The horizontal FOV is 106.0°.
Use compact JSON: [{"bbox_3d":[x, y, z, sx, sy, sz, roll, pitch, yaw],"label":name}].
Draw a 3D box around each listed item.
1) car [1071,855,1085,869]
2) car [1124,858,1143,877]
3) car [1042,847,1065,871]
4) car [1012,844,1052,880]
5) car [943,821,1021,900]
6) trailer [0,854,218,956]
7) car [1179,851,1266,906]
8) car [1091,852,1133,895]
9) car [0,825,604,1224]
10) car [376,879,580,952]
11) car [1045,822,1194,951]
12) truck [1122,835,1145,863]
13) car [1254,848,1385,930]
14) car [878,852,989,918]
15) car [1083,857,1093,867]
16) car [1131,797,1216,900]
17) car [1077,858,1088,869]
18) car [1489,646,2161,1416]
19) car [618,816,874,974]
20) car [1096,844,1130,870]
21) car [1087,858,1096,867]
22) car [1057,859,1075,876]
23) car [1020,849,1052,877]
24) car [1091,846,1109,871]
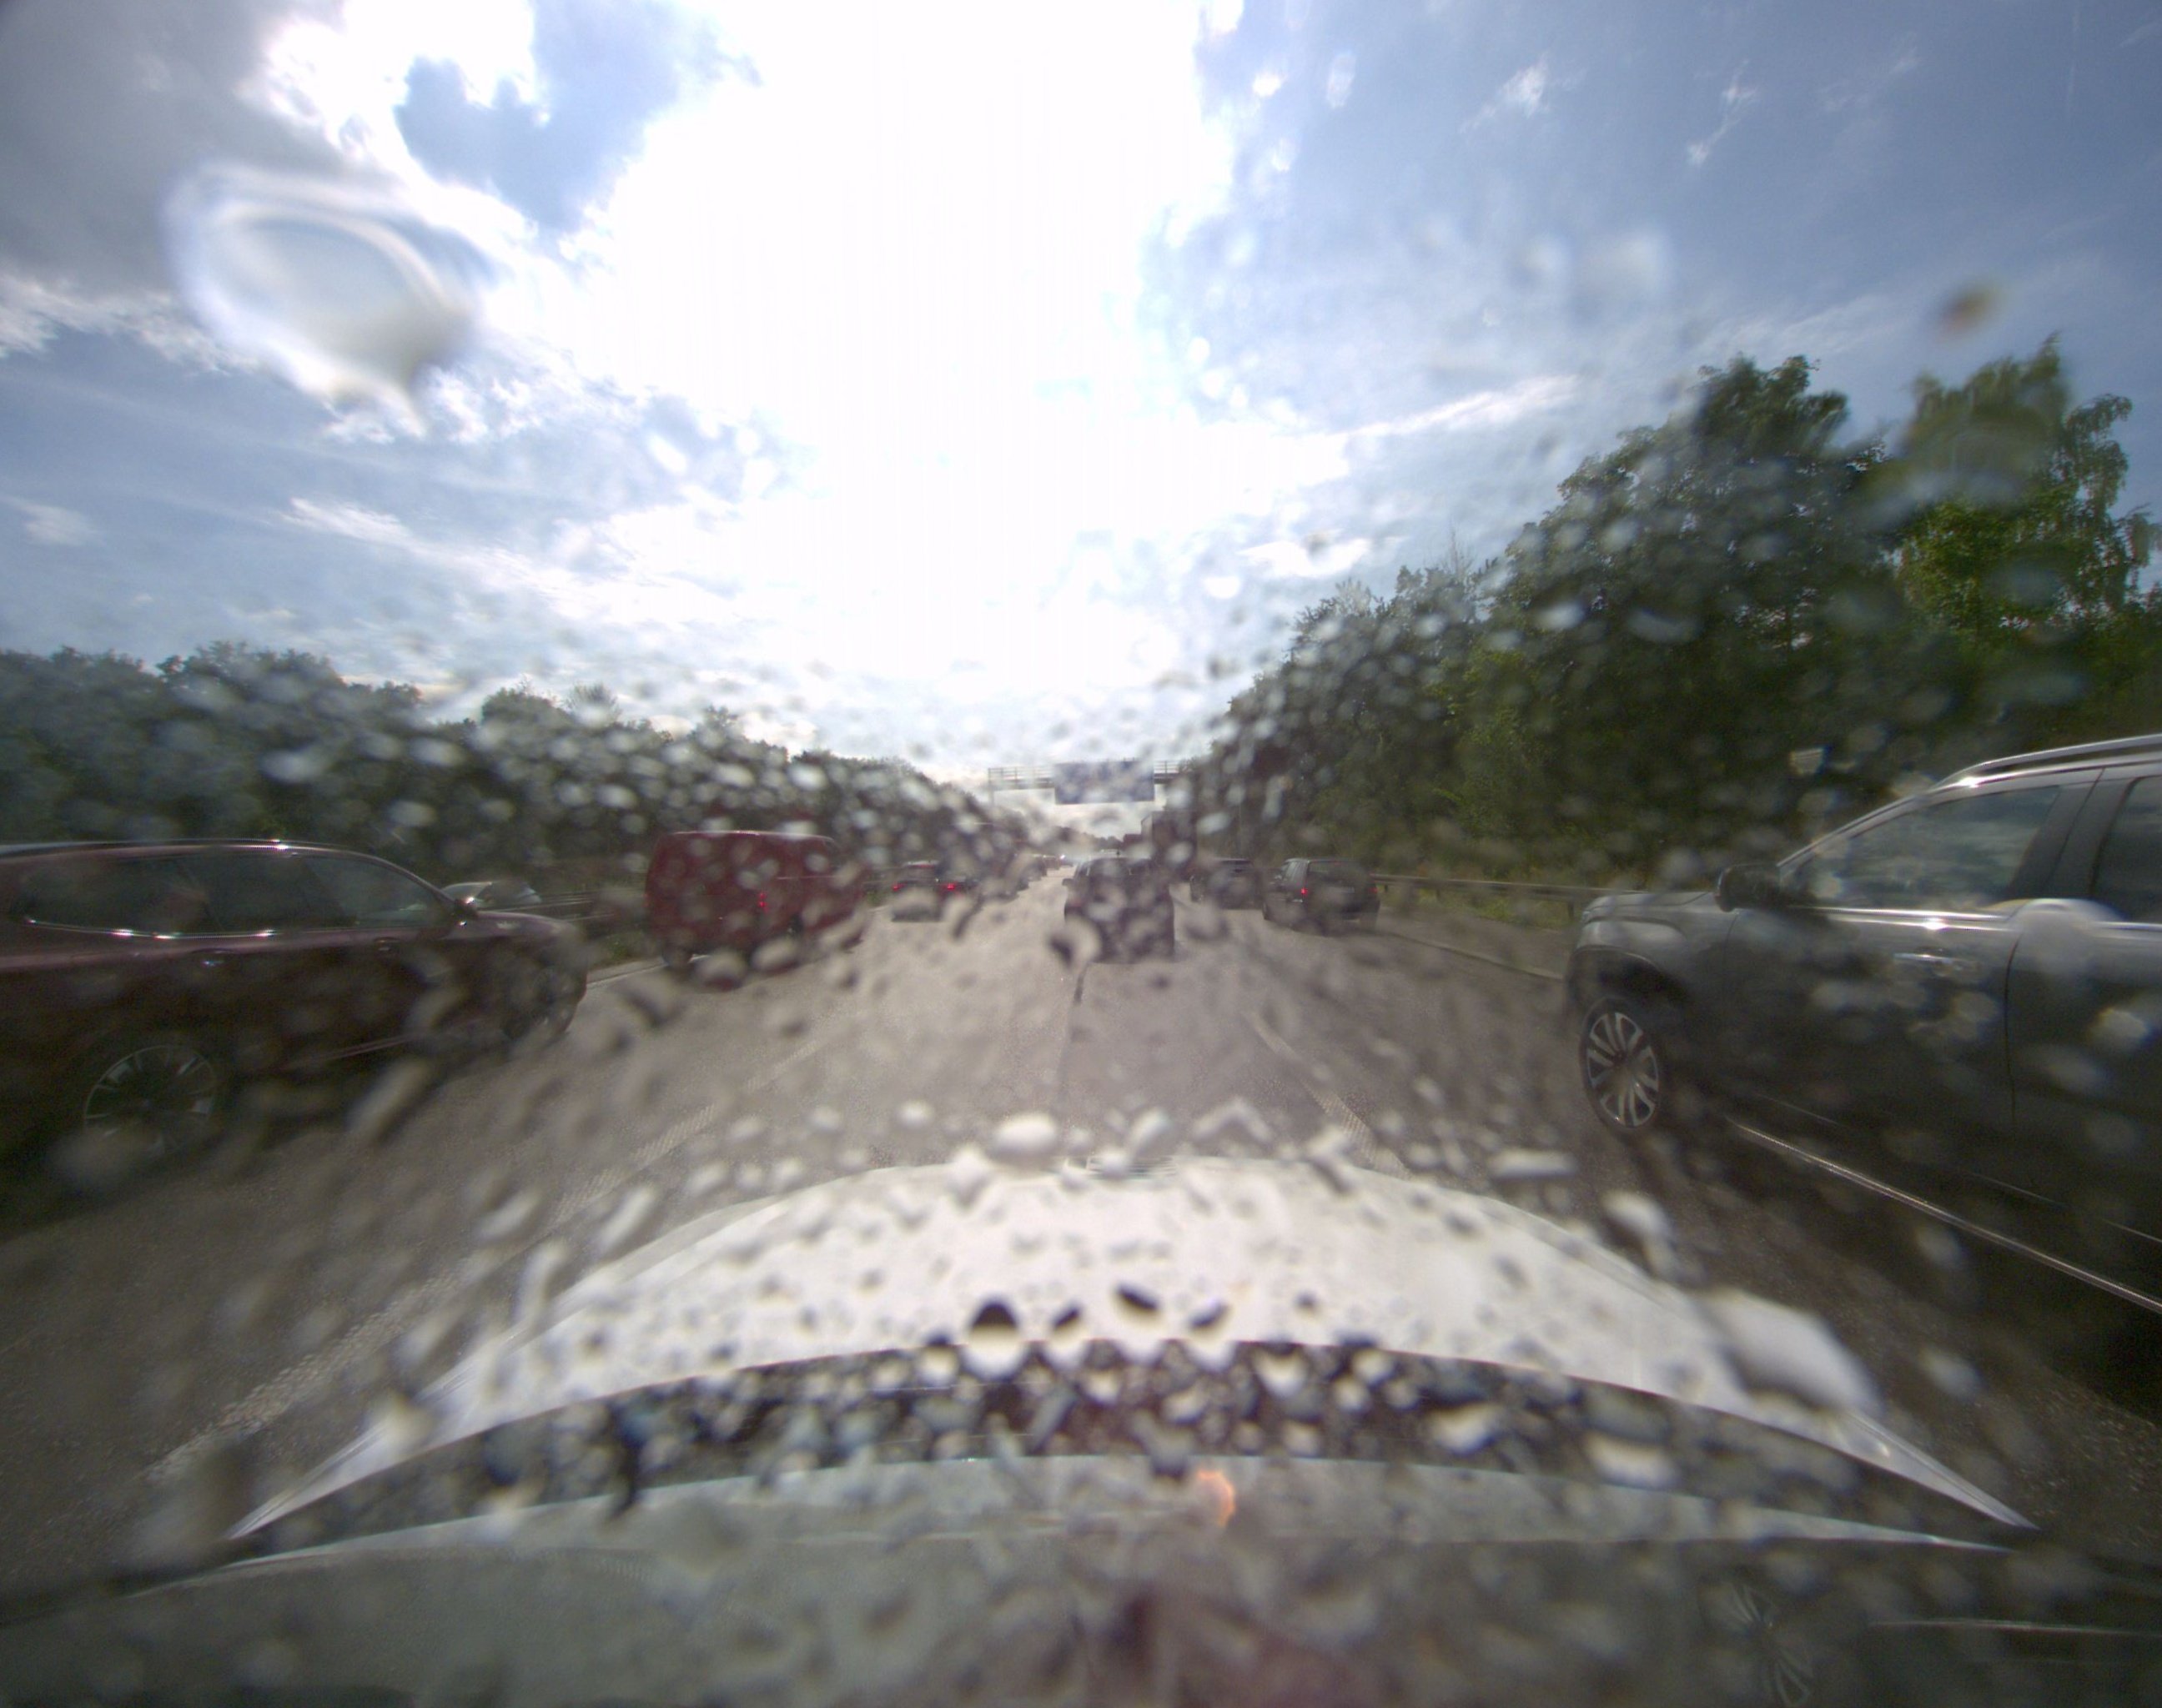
[{"bbox_3d":[-0.494,1.220,126.492,1.986,2.115,4.891,0,0,2],"label":"car"},{"bbox_3d":[5.987,1.483,92.855,1.986,2.115,4.891,0,0,2],"label":"car"},{"bbox_3d":[-2.861,0.529,85.842,1.986,2.385,5.262,0,0,2],"label":"car"},{"bbox_3d":[-2.950,0.467,50.405,1.986,2.115,4.891,0,0,2],"label":"car"},{"bbox_3d":[-3.472,0.233,29.567,1.986,2.615,5.262,0,0,2],"label":"car"},{"bbox_3d":[-45.245,2.078,34.327,3.760,4.117,11.771,-1,0,15],"label":"trailer"},{"bbox_3d":[4.122,0.686,24.325,1.859,1.516,3.974,0,0,-1],"label":"car"},{"bbox_3d":[1.340,0.821,36.366,1.687,1.805,3.975,0,0,0],"label":"car"},{"bbox_3d":[-5.383,0.742,5.175,1.902,1.636,4.616,-2,0,0],"label":"car"},{"bbox_3d":[-17.390,1.678,23.920,2.044,1.775,5.210,0,0,1],"label":"car"},{"bbox_3d":[0.594,0.518,14.883,2.267,1.954,4.820,0,0,0],"label":"car"},{"bbox_3d":[6.800,-0.623,106.737,2.765,3.631,5.919,0,-1,2],"label":"truck"},{"bbox_3d":[4.843,0.660,17.082,1.585,1.516,3.975,0,0,0],"label":"car"},{"bbox_3d":[-3.823,0.759,22.011,1.986,1.564,4.758,0,0,2],"label":"car"},{"bbox_3d":[1.433,1.737,174.128,1.986,2.115,4.891,0,0,2],"label":"car"},{"bbox_3d":[5.779,-0.265,54.593,4.387,5.830,16.826,0,0,2],"label":"car"},{"bbox_3d":[0.312,1.809,152.625,1.986,2.115,4.891,0,0,2],"label":"car"},{"bbox_3d":[3.665,0.439,2.621,1.935,1.919,5.652,0,0,1],"label":"car"},{"bbox_3d":[-4.977,0.553,13.003,1.971,2.054,4.758,0,0,2],"label":"car"},{"bbox_3d":[1.961,0.199,50.868,1.859,1.516,3.974,0,0,-1],"label":"car"},{"bbox_3d":[2.464,1.948,193.098,1.986,2.115,4.891,0,0,2],"label":"car"},{"bbox_3d":[-1.910,1.646,103.975,1.986,2.115,4.891,0,0,2],"label":"car"},{"bbox_3d":[-3.387,0.679,62.458,1.986,2.115,4.891,0,0,2],"label":"car"},{"bbox_3d":[2.173,0.528,91.672,1.986,2.746,5.262,0,0,2],"label":"car"}]
